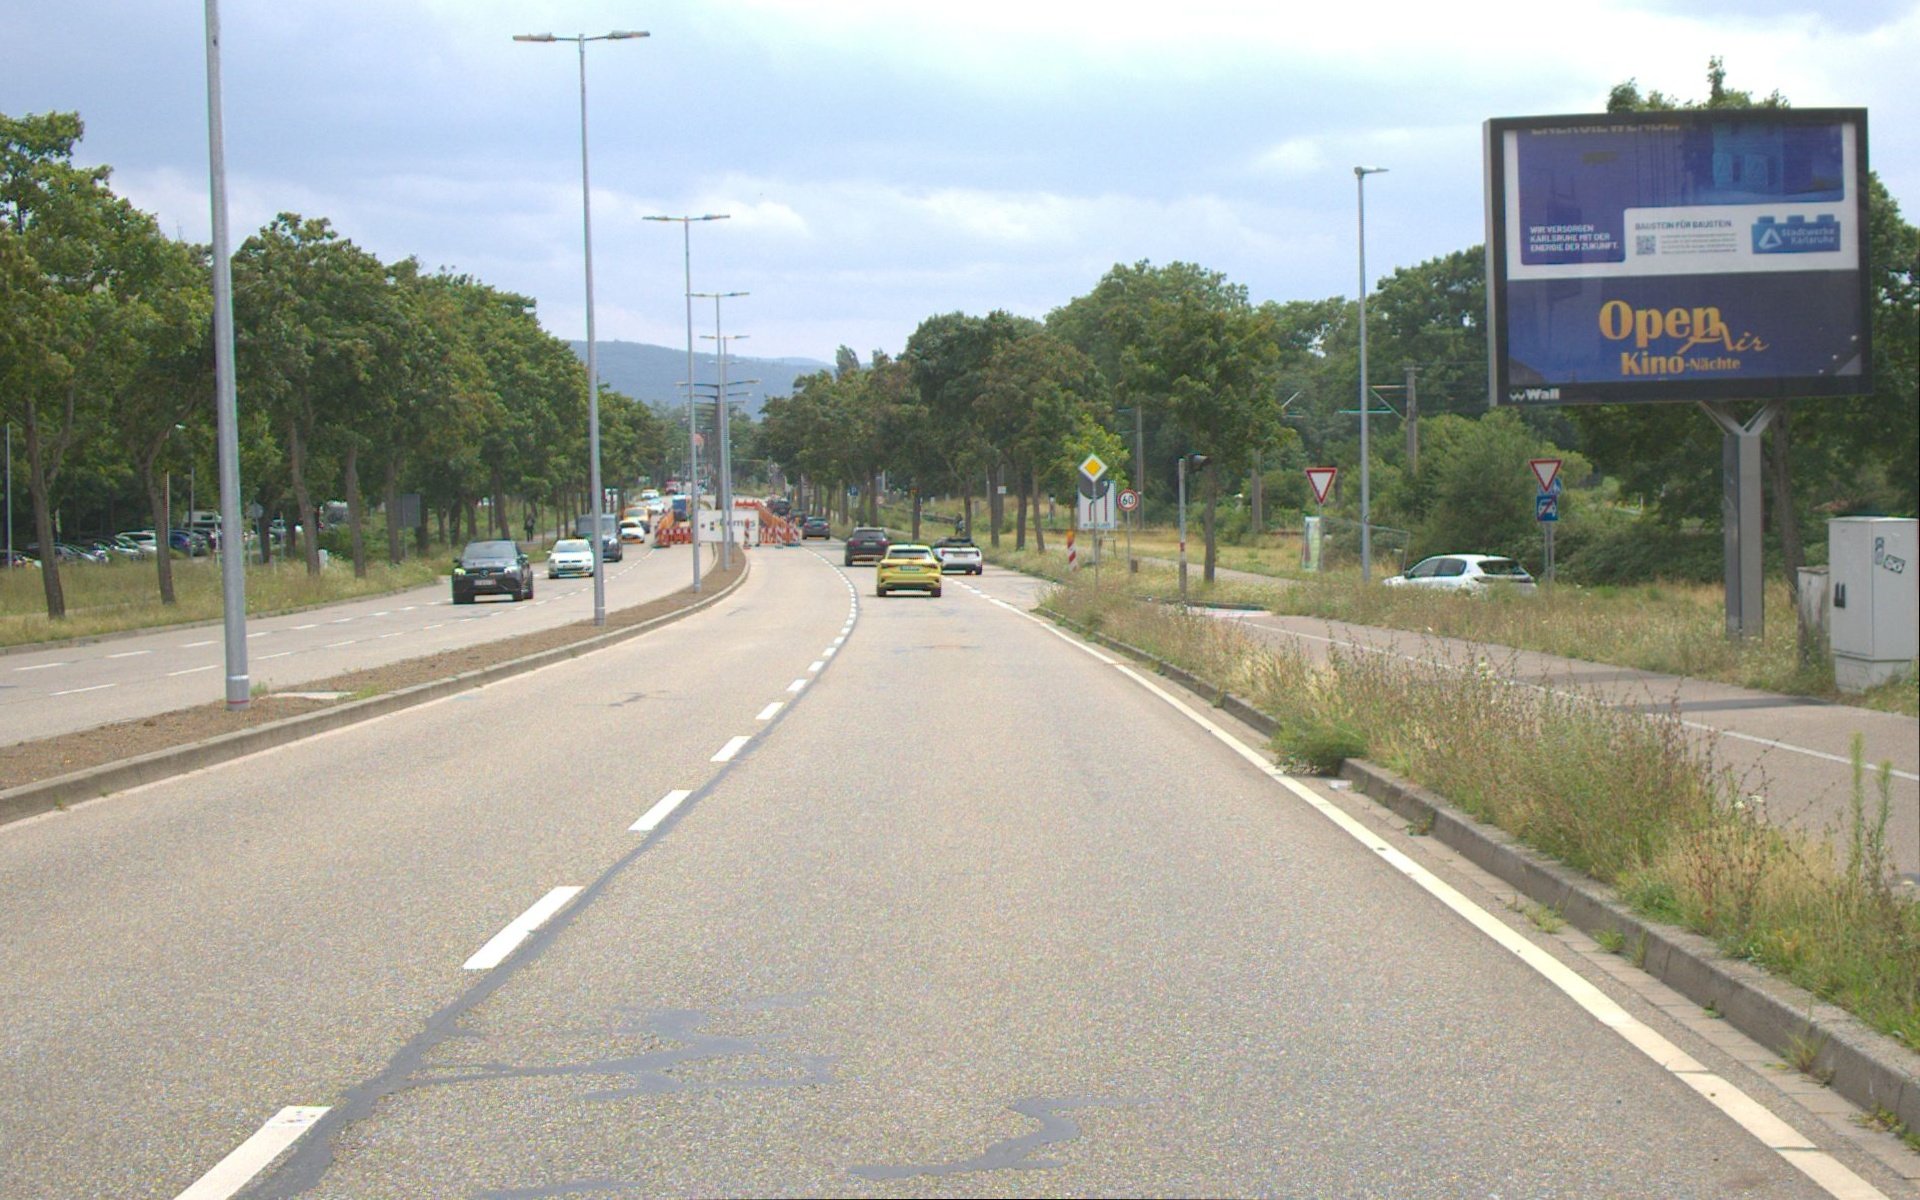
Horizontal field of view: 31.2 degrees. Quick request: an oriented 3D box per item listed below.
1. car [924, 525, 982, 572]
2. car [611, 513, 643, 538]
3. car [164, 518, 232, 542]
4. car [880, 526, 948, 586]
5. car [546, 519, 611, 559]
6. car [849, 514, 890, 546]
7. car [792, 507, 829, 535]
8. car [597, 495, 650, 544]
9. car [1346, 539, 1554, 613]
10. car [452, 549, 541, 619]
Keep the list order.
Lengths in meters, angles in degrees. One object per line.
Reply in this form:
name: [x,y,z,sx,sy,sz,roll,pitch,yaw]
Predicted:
car: [-0.273,-1.947,129.441,2.013,1.664,4.001,-1,2,-2]
car: [-20.688,-4.654,213.672,1.716,1.415,4.160,-2,2,-2]
car: [-47.055,-4.322,212.436,3.772,1.421,1.966,-1,2,-1]
car: [-1.315,-1.248,96.231,1.793,1.556,4.001,-1,2,-2]
car: [-14.841,-2.400,134.010,1.993,1.426,4.688,-2,2,0]
car: [-3.814,-2.941,144.139,1.667,1.265,4.001,-1,2,-2]
car: [-9.481,-5.033,218.567,2.206,1.678,4.001,-1,2,-1]
car: [-15.822,-3.818,161.969,2.095,2.193,6.005,-2,2,-2]
car: [10.304,-0.522,72.421,3.996,1.459,1.768,1,3,41]
car: [-13.298,-0.482,98.896,1.993,1.805,4.798,-2,2,-2]
